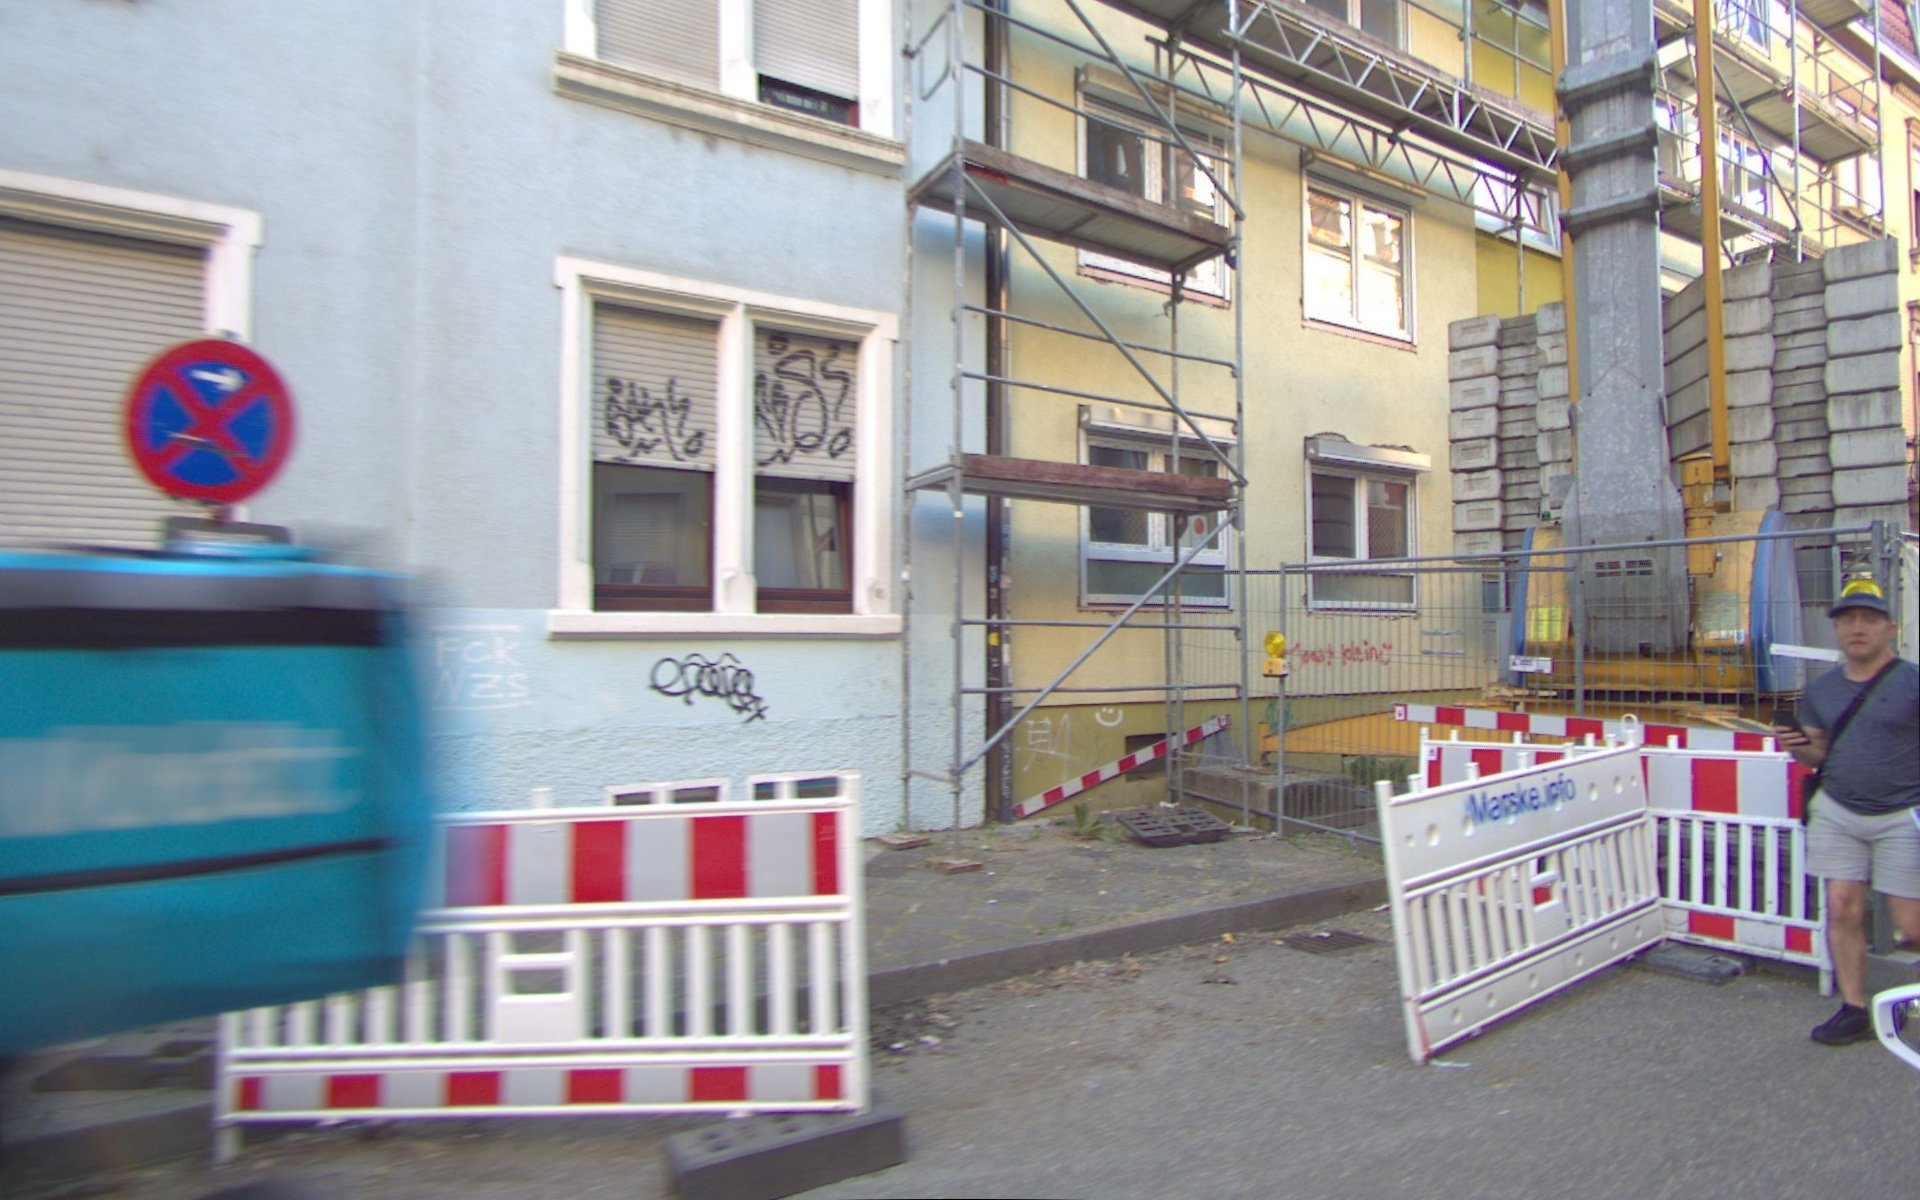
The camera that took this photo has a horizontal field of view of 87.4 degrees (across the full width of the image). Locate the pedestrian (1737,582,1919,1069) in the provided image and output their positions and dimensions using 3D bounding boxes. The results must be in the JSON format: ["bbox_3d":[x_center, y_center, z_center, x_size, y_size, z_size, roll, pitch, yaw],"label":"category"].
[{"bbox_3d":[3.554,0.797,3.828,0.803,1.664,0.590,1,-5,-30],"label":"pedestrian"}]

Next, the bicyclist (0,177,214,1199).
[{"bbox_3d":[-1.222,0.528,0.823,0.883,1.699,0.661,2,-5,-33],"label":"bicyclist"}]

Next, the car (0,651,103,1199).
[{"bbox_3d":[-4.076,0.833,0.968,4.641,1.528,1.759,1,-4,-30],"label":"car"}]

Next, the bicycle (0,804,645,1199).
[{"bbox_3d":[-1.258,0.861,0.781,1.827,1.172,0.683,2,-5,-33],"label":"bicycle"}]
